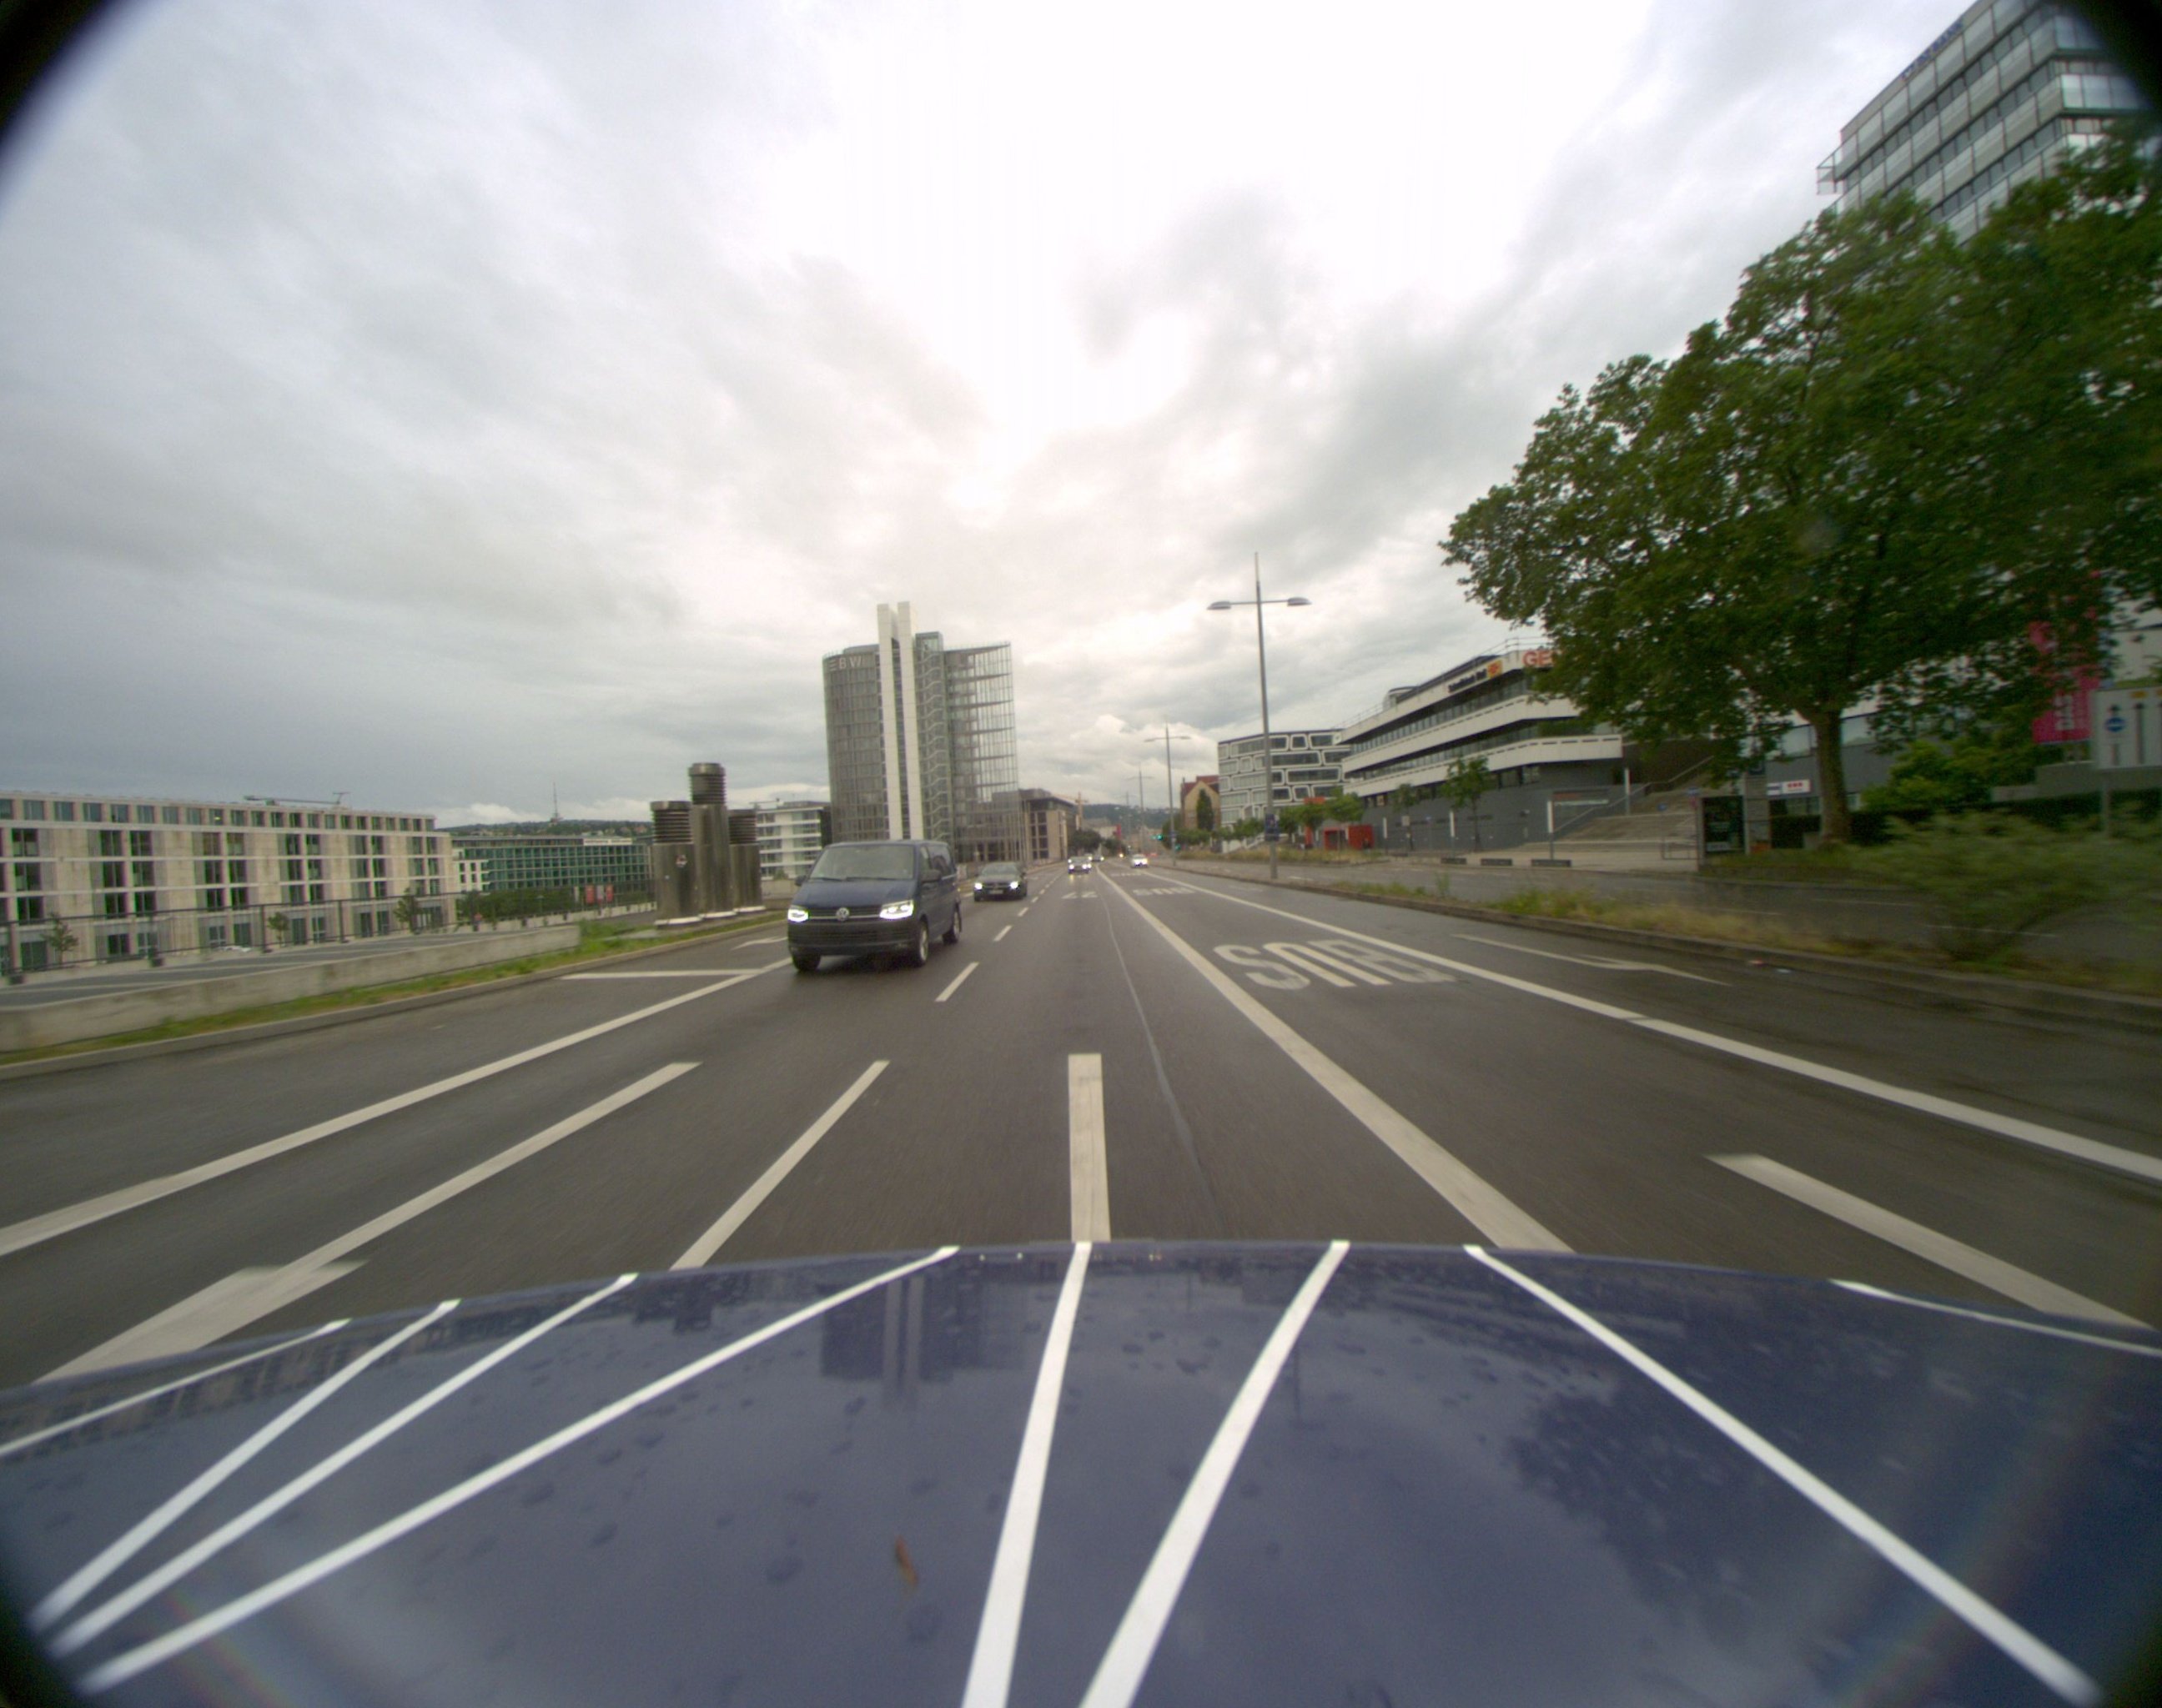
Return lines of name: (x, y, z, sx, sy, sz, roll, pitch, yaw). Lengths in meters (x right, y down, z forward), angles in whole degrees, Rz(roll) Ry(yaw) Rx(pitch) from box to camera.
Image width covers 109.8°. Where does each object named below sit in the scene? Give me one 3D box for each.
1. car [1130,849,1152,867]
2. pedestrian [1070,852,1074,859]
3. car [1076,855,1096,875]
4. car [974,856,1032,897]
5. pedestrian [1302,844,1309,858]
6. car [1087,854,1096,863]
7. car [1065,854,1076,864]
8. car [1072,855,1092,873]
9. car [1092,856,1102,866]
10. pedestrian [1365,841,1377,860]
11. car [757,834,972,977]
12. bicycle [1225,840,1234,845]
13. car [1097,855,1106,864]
car: (6.520, 0.435, 82.864, 1.971, 1.816, 3.927, -3, 1, -1)
pedestrian: (-2.079, 0.247, 178.002, 0.660, 1.601, 0.547, -3, 0, 7)
car: (0.544, 1.222, 83.785, 1.998, 2.002, 3.999, -2, 1, 0)
car: (-2.935, 0.922, 29.389, 1.727, 1.367, 4.157, -2, -3, 0)
pedestrian: (29.243, -0.447, 98.912, 0.631, 1.797, 0.628, -2, 1, 1)
car: (2.519, 1.179, 182.929, 1.998, 2.002, 3.999, -2, 1, 0)
car: (-2.055, 0.915, 146.366, 1.998, 1.827, 3.999, -2, 1, 0)
car: (0.125, 0.821, 65.899, 1.684, 1.379, 3.476, -2, 1, 1)
car: (3.420, 1.538, 166.025, 1.998, 2.002, 3.999, -2, 1, 0)
pedestrian: (27.523, -0.313, 72.131, 0.786, 1.797, 0.628, -2, 1, 1)
car: (-3.324, 0.740, 12.907, 2.038, 1.871, 5.042, -3, -1, 1)
bicycle: (25.698, -1.960, 131.351, 0.610, 0.852, 1.653, -3, 1, -32)
car: (4.995, 1.413, 182.077, 1.998, 2.002, 3.999, -2, 1, 0)
